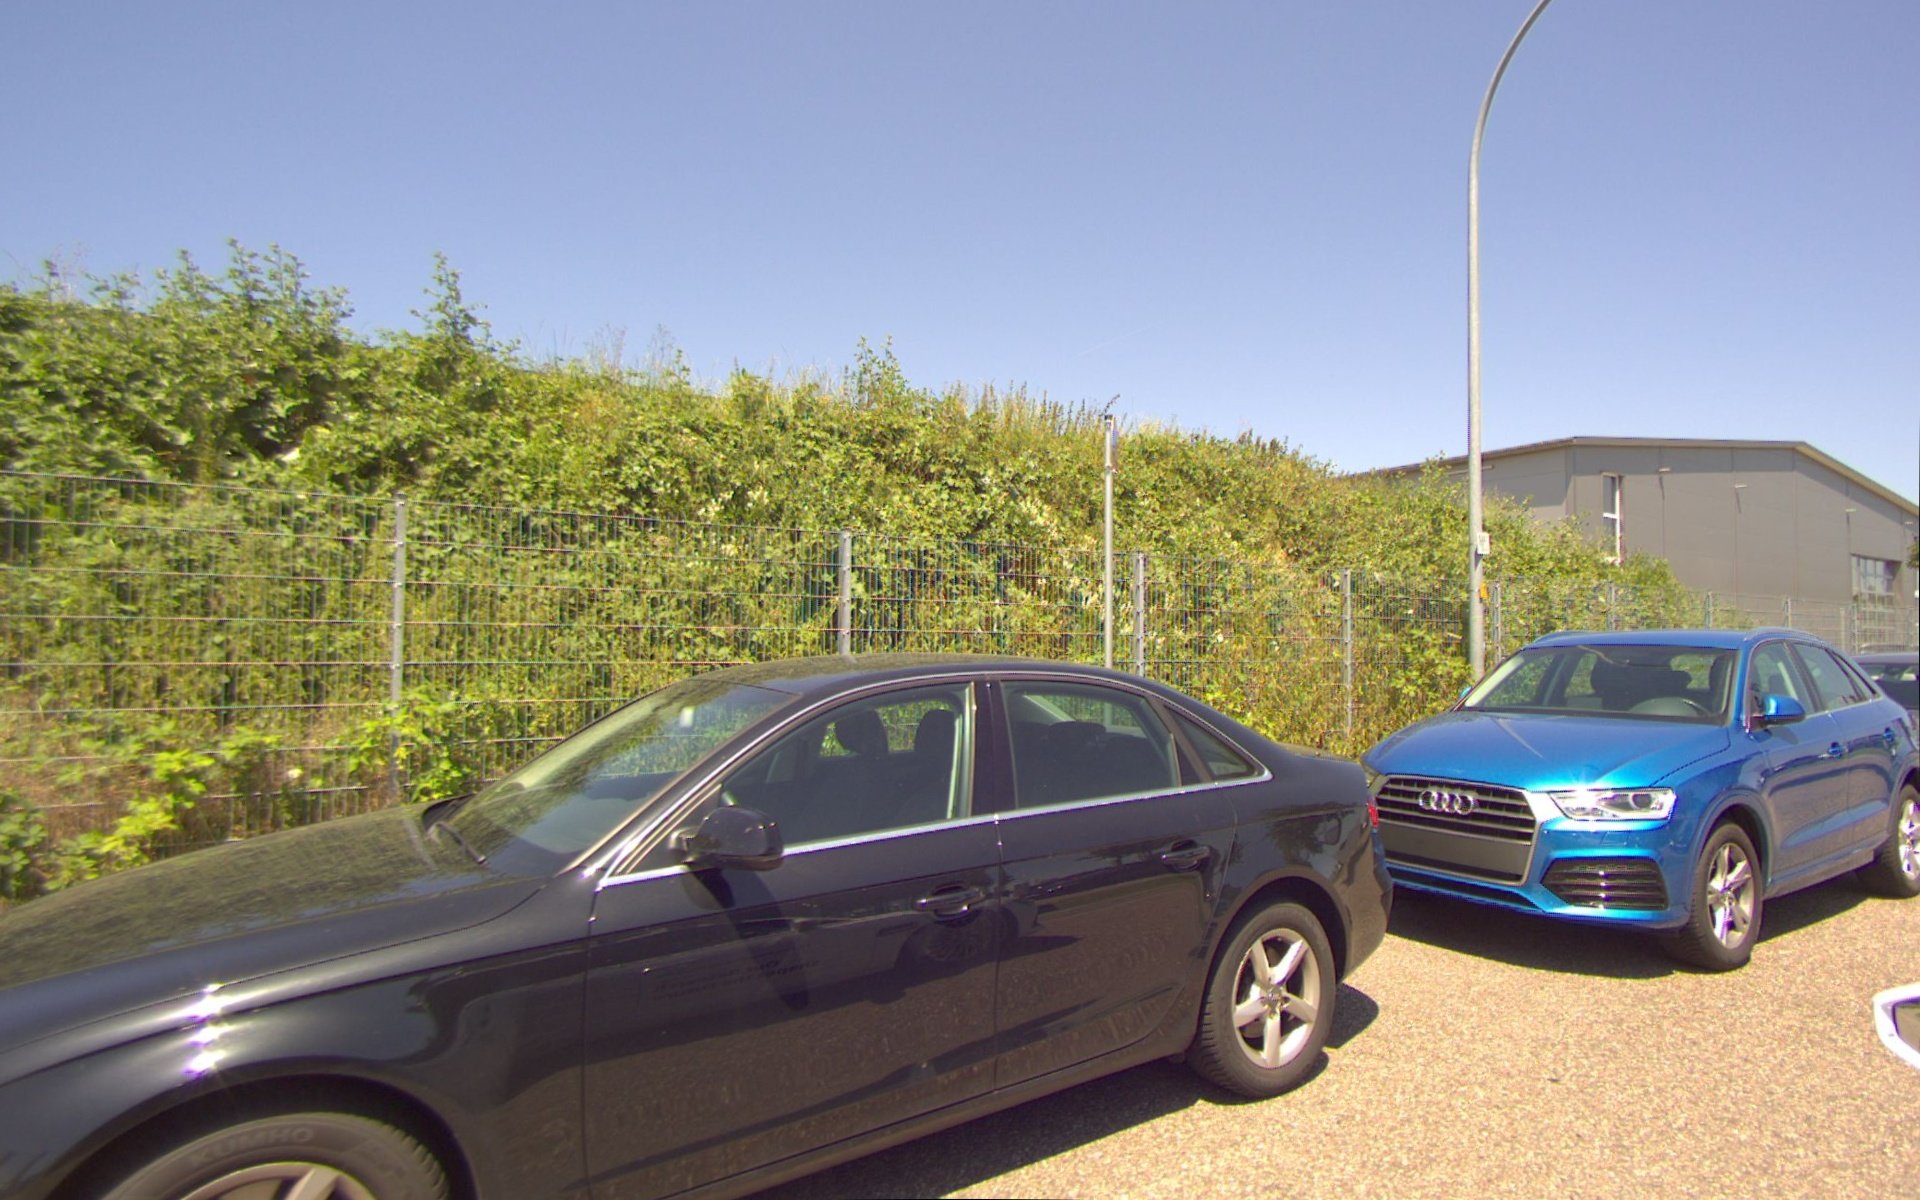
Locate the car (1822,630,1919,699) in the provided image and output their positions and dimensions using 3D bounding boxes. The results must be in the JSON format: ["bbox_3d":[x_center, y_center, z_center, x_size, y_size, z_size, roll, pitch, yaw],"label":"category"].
[{"bbox_3d":[23.146,1.553,24.584,4.277,1.520,1.815,2,-1,-30],"label":"car"}]

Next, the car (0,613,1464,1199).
[{"bbox_3d":[-0.491,0.854,3.294,4.532,1.473,1.814,2,-3,-33],"label":"car"}]

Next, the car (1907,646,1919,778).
[{"bbox_3d":[13.361,1.322,12.042,4.469,1.519,1.815,2,-3,-32],"label":"car"}]

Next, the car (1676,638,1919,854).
[{"bbox_3d":[8.349,1.123,8.779,4.469,1.519,1.815,2,-3,-32],"label":"car"}]

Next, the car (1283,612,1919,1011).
[{"bbox_3d":[4.090,0.954,5.999,4.340,1.591,1.814,2,-3,-33],"label":"car"}]
